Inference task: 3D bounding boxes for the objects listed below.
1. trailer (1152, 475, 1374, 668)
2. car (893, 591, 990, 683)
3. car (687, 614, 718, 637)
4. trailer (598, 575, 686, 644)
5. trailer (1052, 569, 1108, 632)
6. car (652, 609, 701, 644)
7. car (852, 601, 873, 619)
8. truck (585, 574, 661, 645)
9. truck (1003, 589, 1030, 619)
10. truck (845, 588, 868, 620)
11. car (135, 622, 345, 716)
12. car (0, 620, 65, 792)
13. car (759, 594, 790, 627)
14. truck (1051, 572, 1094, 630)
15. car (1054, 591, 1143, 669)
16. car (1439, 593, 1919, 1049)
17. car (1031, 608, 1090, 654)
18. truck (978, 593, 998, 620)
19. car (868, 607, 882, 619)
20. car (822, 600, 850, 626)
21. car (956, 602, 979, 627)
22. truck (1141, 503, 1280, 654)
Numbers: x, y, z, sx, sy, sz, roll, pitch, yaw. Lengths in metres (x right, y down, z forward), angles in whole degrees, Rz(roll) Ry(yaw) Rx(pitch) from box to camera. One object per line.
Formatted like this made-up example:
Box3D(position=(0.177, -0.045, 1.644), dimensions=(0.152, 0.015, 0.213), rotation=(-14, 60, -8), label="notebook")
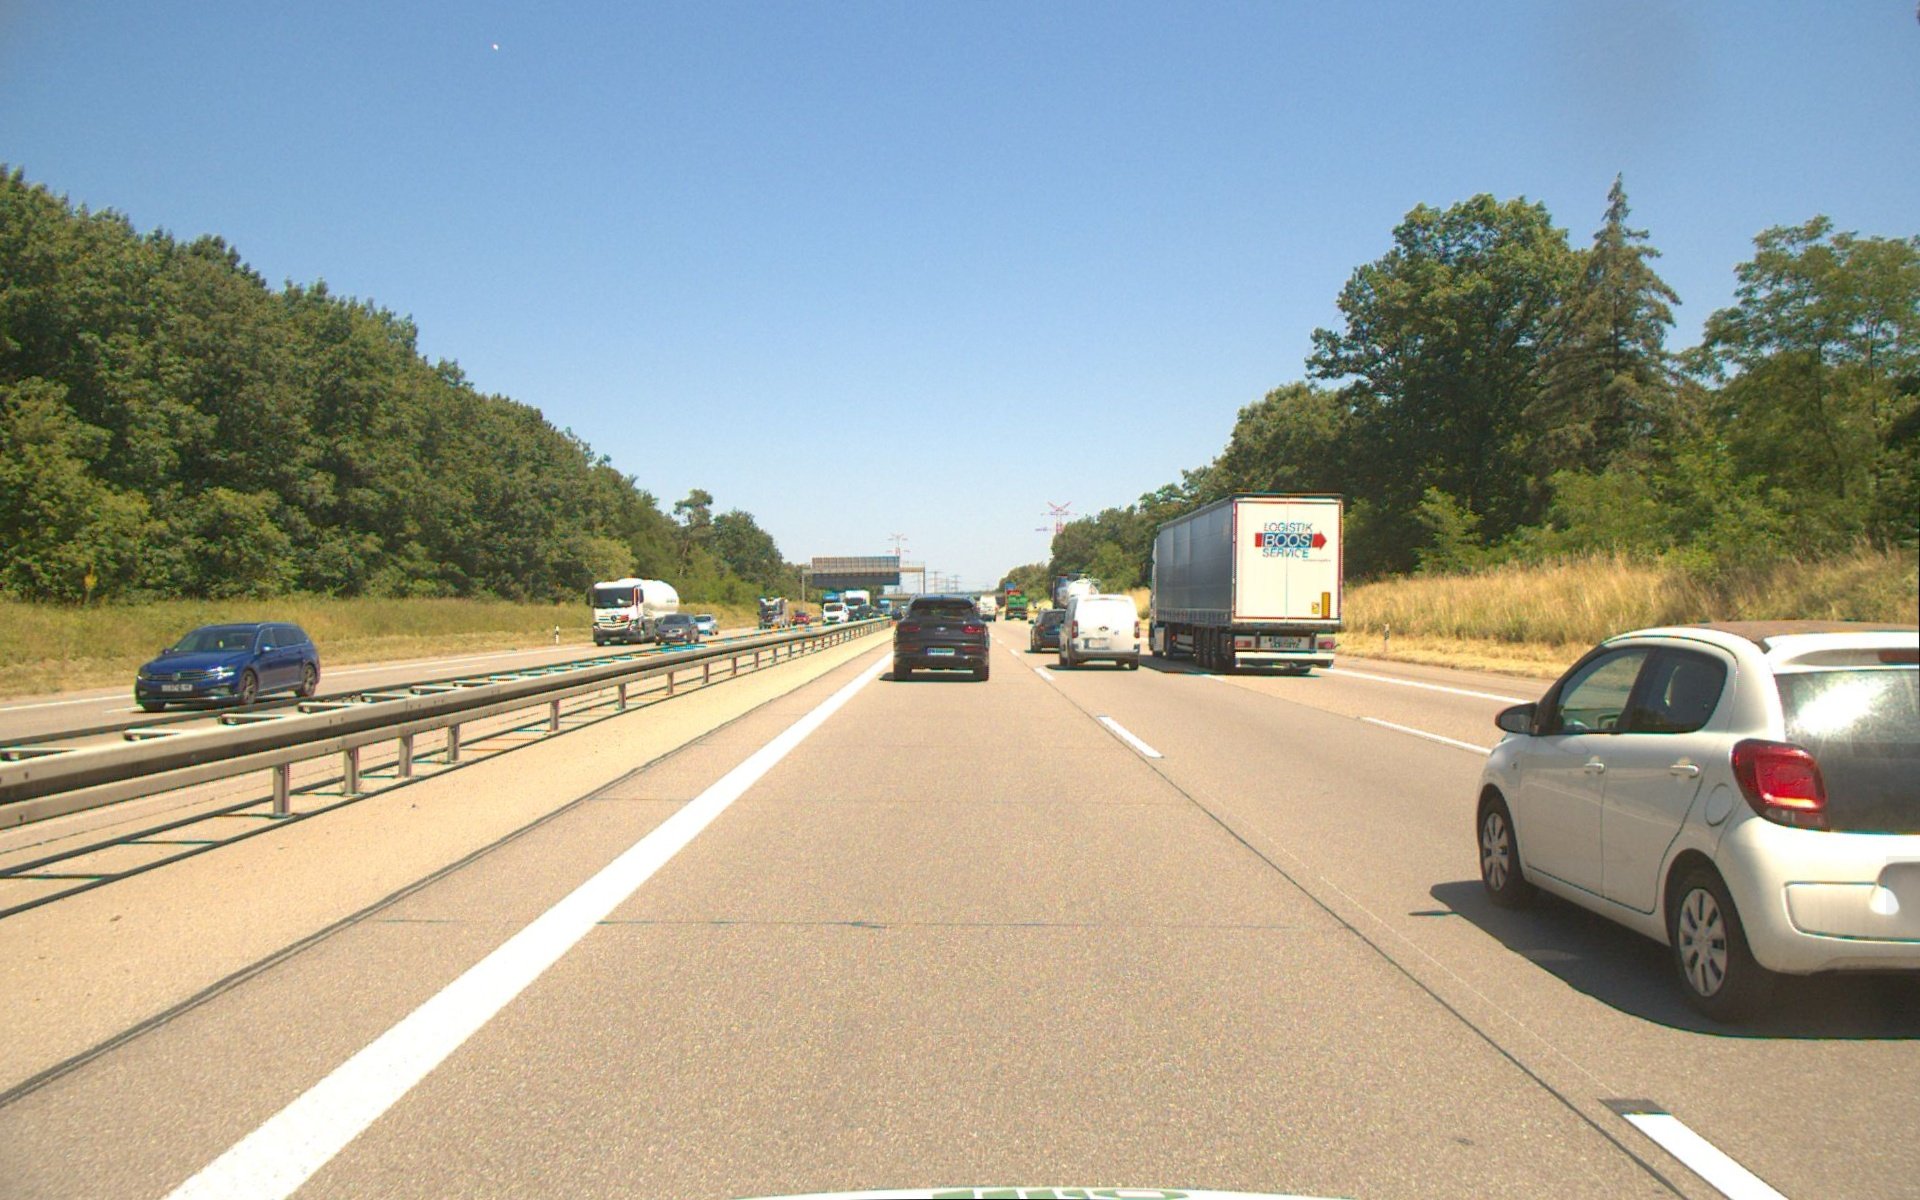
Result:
Box3D(position=(7.615, -0.597, 44.043), dimensions=(3.219, 4.293, 13.562), rotation=(1, 0, -1), label="trailer")
Box3D(position=(-0.411, 0.712, 35.392), dimensions=(1.901, 1.783, 5.812), rotation=(0, 0, -1), label="car")
Box3D(position=(-18.120, 1.782, 116.453), dimensions=(1.537, 1.490, 4.034), rotation=(-2, 0, -1), label="car")
Box3D(position=(-17.648, 0.488, 92.663), dimensions=(2.628, 3.494, 11.798), rotation=(-2, 0, 0), label="trailer")
Box3D(position=(7.892, 0.049, 110.189), dimensions=(2.628, 3.904, 12.008), rotation=(1, 0, -1), label="trailer")
Box3D(position=(-13.411, 1.238, 78.401), dimensions=(1.599, 1.499, 3.936), rotation=(-2, 0, 0), label="car")
Box3D(position=(-10.702, 1.120, 181.869), dimensions=(1.838, 1.880, 5.833), rotation=(-2, 0, -1), label="car")
Box3D(position=(-17.637, 0.482, 86.802), dimensions=(2.628, 3.494, 6.144), rotation=(-2, 0, 0), label="truck")
Box3D(position=(7.307, 0.537, 214.590), dimensions=(2.928, 3.794, 10.087), rotation=(1, 0, -1), label="truck")
Box3D(position=(-13.618, 0.535, 217.986), dimensions=(2.615, 4.059, 6.340), rotation=(-2, 0, -1), label="truck")
Box3D(position=(-13.210, 1.204, 30.713), dimensions=(1.640, 1.468, 5.135), rotation=(-2, 0, 0), label="car")
Box3D(position=(-8.944, 0.938, 12.403), dimensions=(1.674, 1.435, 5.083), rotation=(-3, 0, 0), label="car")
Box3D(position=(-17.329, 0.948, 154.468), dimensions=(2.168, 2.907, 6.452), rotation=(-2, 0, -1), label="car")
Box3D(position=(7.829, 0.078, 115.874), dimensions=(2.628, 3.904, 4.443), rotation=(1, 0, -1), label="truck")
Box3D(position=(3.451, 0.734, 42.128), dimensions=(1.777, 1.859, 5.109), rotation=(0, 0, -1), label="car")
Box3D(position=(3.614, 0.743, 7.557), dimensions=(1.673, 1.521, 4.023), rotation=(0, 0, 0), label="car")
Box3D(position=(3.382, 1.015, 56.303), dimensions=(1.738, 1.498, 3.872), rotation=(0, 0, -1), label="car")
Box3D(position=(3.177, 0.771, 188.857), dimensions=(2.018, 2.965, 7.002), rotation=(0, 0, -1), label="truck")
Box3D(position=(-11.025, 1.669, 214.171), dimensions=(1.584, 1.508, 4.624), rotation=(-2, 0, -1), label="car")
Box3D(position=(-10.307, 1.072, 137.757), dimensions=(1.955, 1.981, 5.741), rotation=(-2, 0, -1), label="car")
Box3D(position=(0.529, 1.044, 121.502), dimensions=(1.593, 1.785, 3.804), rotation=(0, 0, 0), label="car")
Box3D(position=(7.551, -0.599, 50.677), dimensions=(3.219, 4.293, 6.006), rotation=(1, 0, -1), label="truck")
